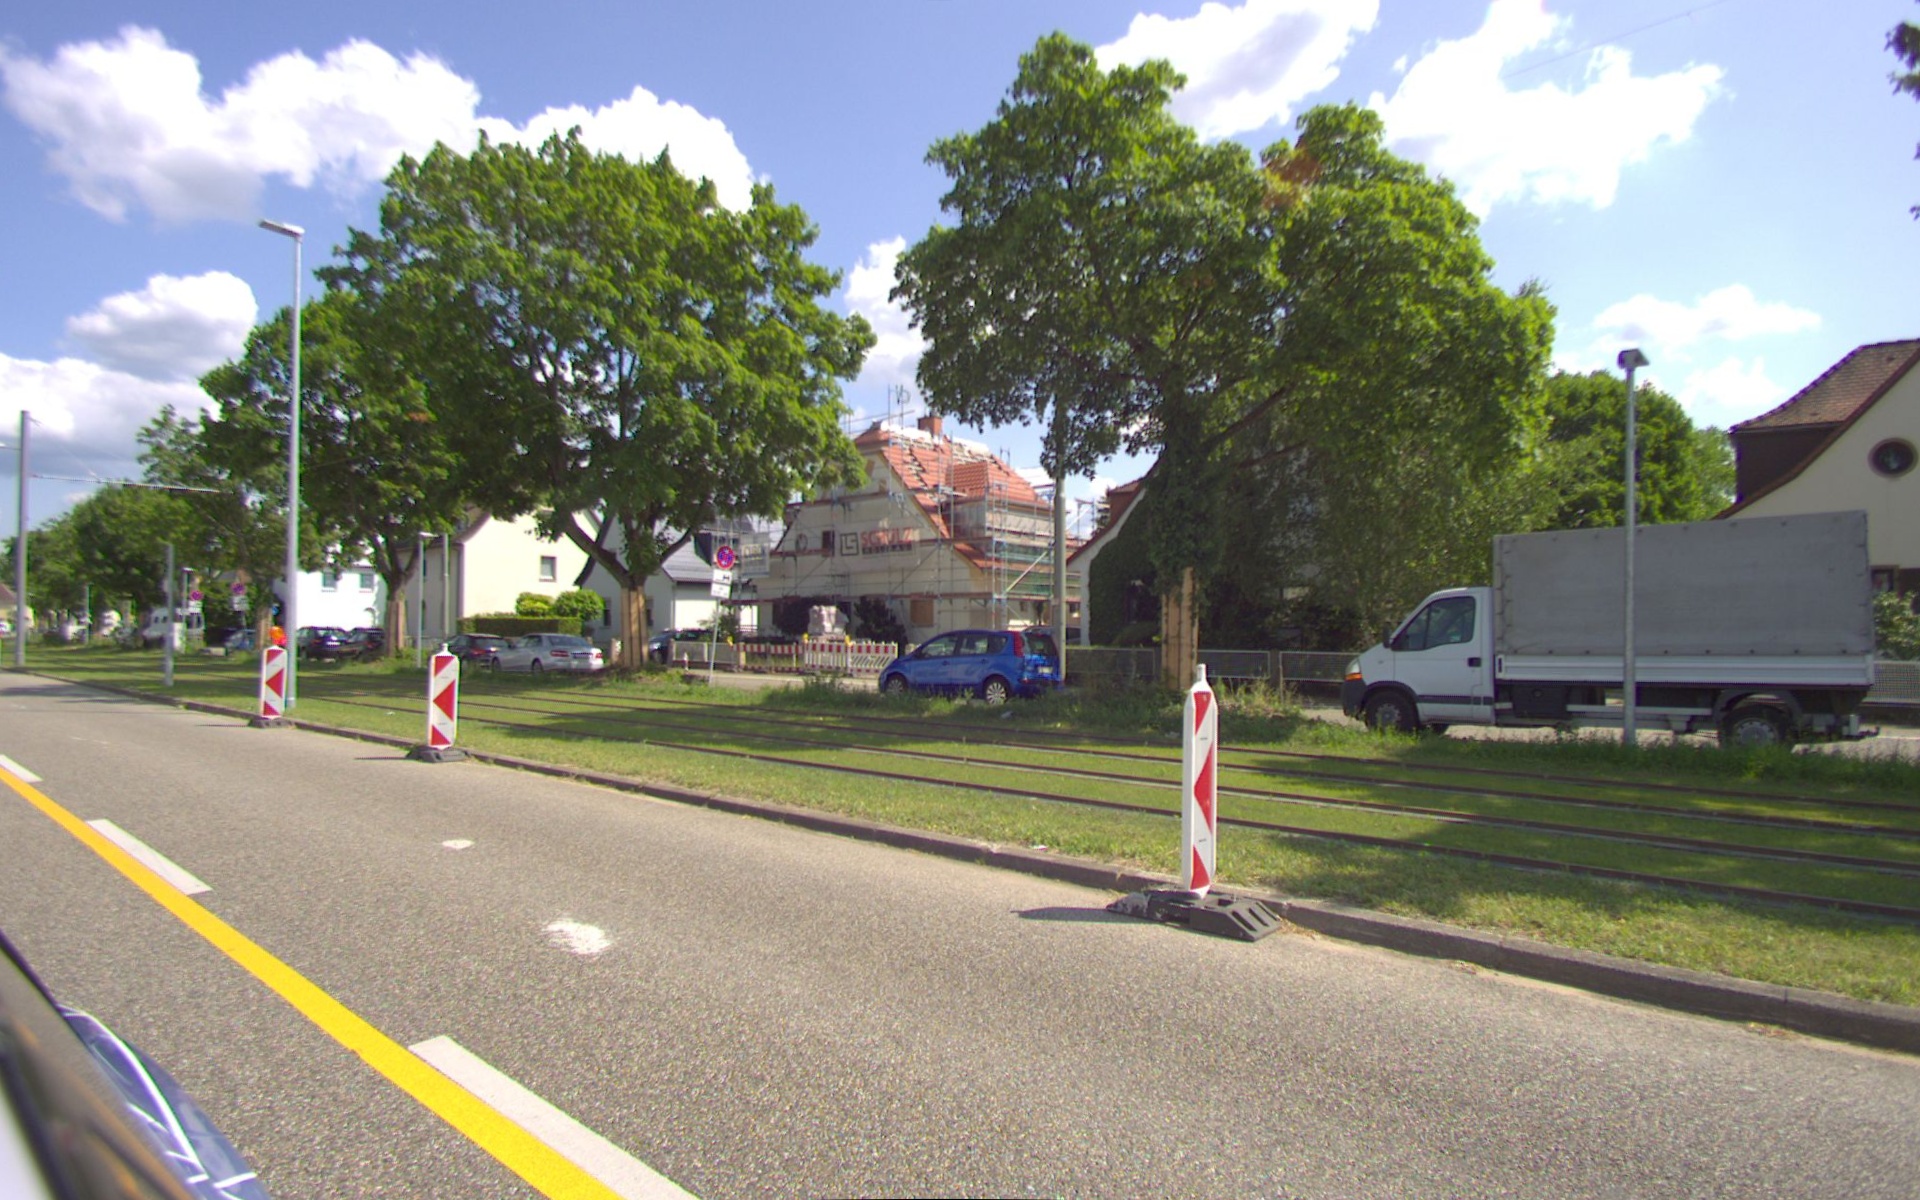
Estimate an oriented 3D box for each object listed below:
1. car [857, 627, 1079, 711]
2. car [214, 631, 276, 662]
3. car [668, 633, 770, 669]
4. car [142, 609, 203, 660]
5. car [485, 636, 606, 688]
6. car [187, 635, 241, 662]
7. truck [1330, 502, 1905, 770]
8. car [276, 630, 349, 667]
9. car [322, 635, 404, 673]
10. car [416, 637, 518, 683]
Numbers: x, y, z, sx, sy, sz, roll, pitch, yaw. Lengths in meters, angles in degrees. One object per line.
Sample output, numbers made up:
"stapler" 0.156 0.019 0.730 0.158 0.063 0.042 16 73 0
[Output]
"car" 0.068 1.362 20.279 4.403 1.497 1.680 -3 -3 41
"car" -37.500 2.445 53.038 4.403 1.497 1.680 -3 -3 41
"car" -10.932 2.307 46.202 1.702 1.497 4.345 -3 -3 41
"car" -49.524 2.181 63.594 5.080 3.061 2.108 -3 -3 41
"car" -13.104 1.943 31.829 4.520 1.497 1.765 -4 -3 42
"car" -44.484 2.894 60.318 4.403 1.497 1.680 -3 -3 41
"truck" 8.296 0.463 13.396 5.971 2.802 2.242 -2 -3 41
"car" -29.500 2.240 46.063 4.403 1.584 1.680 -3 -3 41
"car" -25.185 2.268 42.641 4.403 1.497 1.680 -3 -3 41
"car" -17.526 2.132 35.884 4.403 1.497 1.680 -3 -3 41
